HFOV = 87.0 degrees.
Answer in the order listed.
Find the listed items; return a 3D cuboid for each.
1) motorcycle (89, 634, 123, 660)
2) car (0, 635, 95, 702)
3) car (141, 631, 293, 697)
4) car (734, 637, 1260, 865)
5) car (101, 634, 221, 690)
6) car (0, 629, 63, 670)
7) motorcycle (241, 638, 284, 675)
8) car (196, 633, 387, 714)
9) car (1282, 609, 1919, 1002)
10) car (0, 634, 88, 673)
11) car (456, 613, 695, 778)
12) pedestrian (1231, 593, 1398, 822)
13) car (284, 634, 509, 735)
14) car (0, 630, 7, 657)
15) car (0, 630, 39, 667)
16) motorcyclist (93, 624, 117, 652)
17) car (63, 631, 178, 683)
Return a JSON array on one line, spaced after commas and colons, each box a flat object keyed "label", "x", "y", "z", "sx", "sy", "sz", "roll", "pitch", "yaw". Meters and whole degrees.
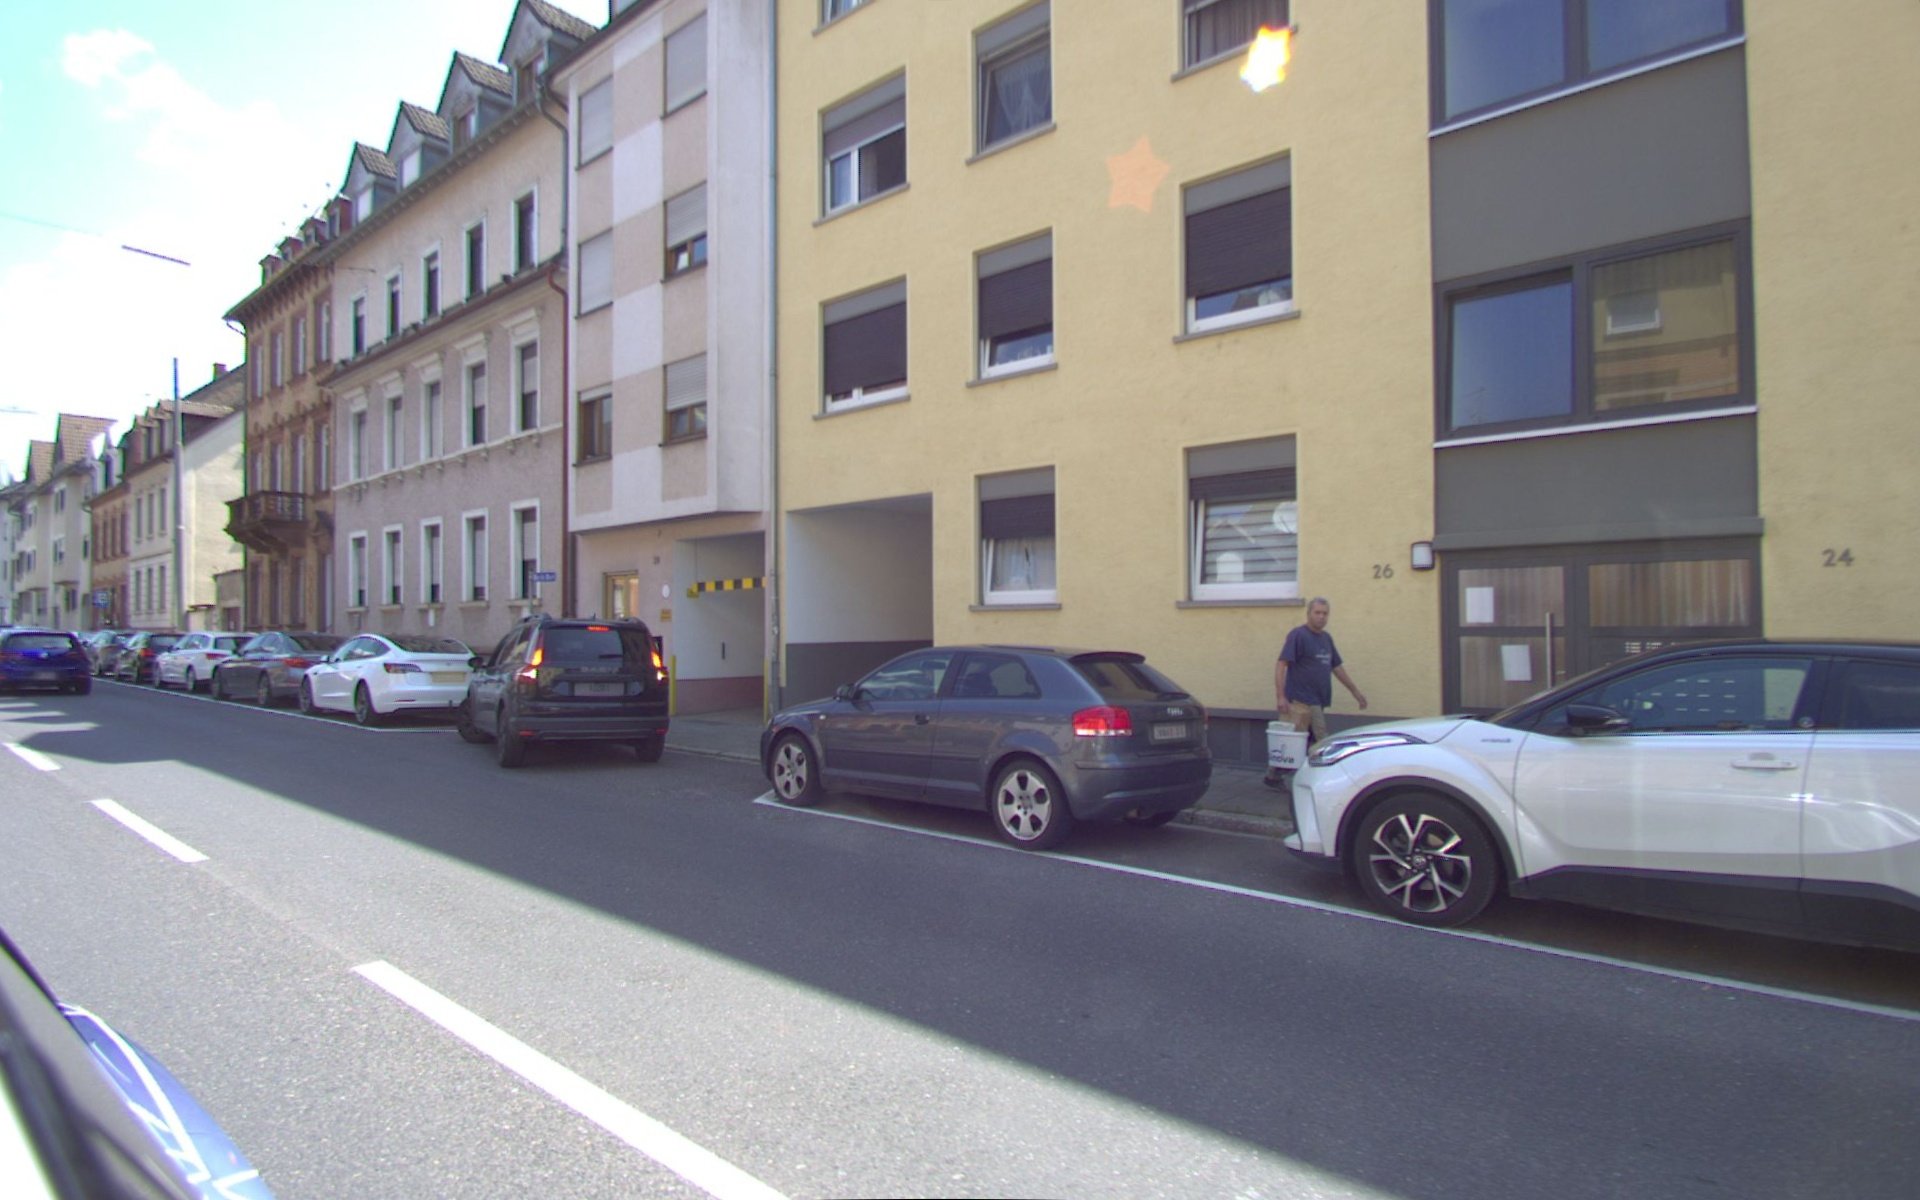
[{"label": "motorcycle", "x": -38.480, "y": 2.106, "z": 45.584, "sx": 1.870, "sy": 1.086, "sz": 0.837, "roll": -1, "pitch": 0, "yaw": 40}, {"label": "car", "x": -20.939, "y": 1.489, "z": 22.718, "sx": 3.999, "sy": 1.399, "sz": 1.796, "roll": -2, "pitch": -4, "yaw": 42}, {"label": "car", "x": -18.247, "y": 1.526, "z": 24.798, "sx": 4.496, "sy": 1.433, "sz": 1.822, "roll": -1, "pitch": -4, "yaw": 38}, {"label": "car", "x": 0.149, "y": 1.031, "z": 8.332, "sx": 4.059, "sy": 1.390, "sz": 1.884, "roll": -2, "pitch": -4, "yaw": 41}, {"label": "car", "x": -22.714, "y": 1.735, "z": 28.711, "sx": 4.500, "sy": 1.433, "sz": 1.820, "roll": -1, "pitch": -6, "yaw": 41}, {"label": "car", "x": -40.193, "y": 2.105, "z": 43.399, "sx": 4.498, "sy": 1.609, "sz": 1.821, "roll": -1, "pitch": -5, "yaw": 40}, {"label": "motorcycle", "x": -21.293, "y": 1.706, "z": 30.874, "sx": 1.936, "sy": 1.061, "sz": 0.705, "roll": -1, "pitch": -1, "yaw": 44}, {"label": "car", "x": -13.570, "y": 1.425, "z": 20.450, "sx": 4.640, "sy": 1.433, "sz": 1.822, "roll": -1, "pitch": -4, "yaw": 38}, {"label": "car", "x": 4.019, "y": 0.854, "z": 4.942, "sx": 4.299, "sy": 1.522, "sz": 1.885, "roll": -2, "pitch": -4, "yaw": 41}, {"label": "car", "x": -36.324, "y": 2.083, "z": 40.000, "sx": 4.494, "sy": 1.433, "sz": 1.823, "roll": -1, "pitch": -5, "yaw": 37}, {"label": "car", "x": -4.952, "y": 1.073, "z": 12.588, "sx": 1.878, "sy": 1.650, "sz": 4.570, "roll": 3, "pitch": -4, "yaw": -32}, {"label": "pedestrian", "x": 3.006, "y": 0.847, "z": 8.563, "sx": 0.969, "sy": 1.763, "sz": 1.139, "roll": -2, "pitch": -3, "yaw": 41}, {"label": "car", "x": -9.489, "y": 1.338, "z": 16.881, "sx": 4.556, "sy": 1.433, "sz": 1.820, "roll": -1, "pitch": -5, "yaw": 42}, {"label": "car", "x": -57.116, "y": 2.566, "z": 58.904, "sx": 4.381, "sy": 1.499, "sz": 1.822, "roll": -1, "pitch": 1, "yaw": 39}, {"label": "car", "x": -43.691, "y": 2.200, "z": 46.163, "sx": 4.498, "sy": 1.609, "sz": 1.821, "roll": -1, "pitch": -4, "yaw": 40}, {"label": "motorcyclist", "x": -38.534, "y": 1.711, "z": 45.615, "sx": 0.711, "sy": 1.257, "sz": 0.711, "roll": -2, "pitch": -2, "yaw": 39}, {"label": "car", "x": -26.648, "y": 1.789, "z": 32.078, "sx": 4.497, "sy": 1.433, "sz": 1.822, "roll": -1, "pitch": -6, "yaw": 39}]
